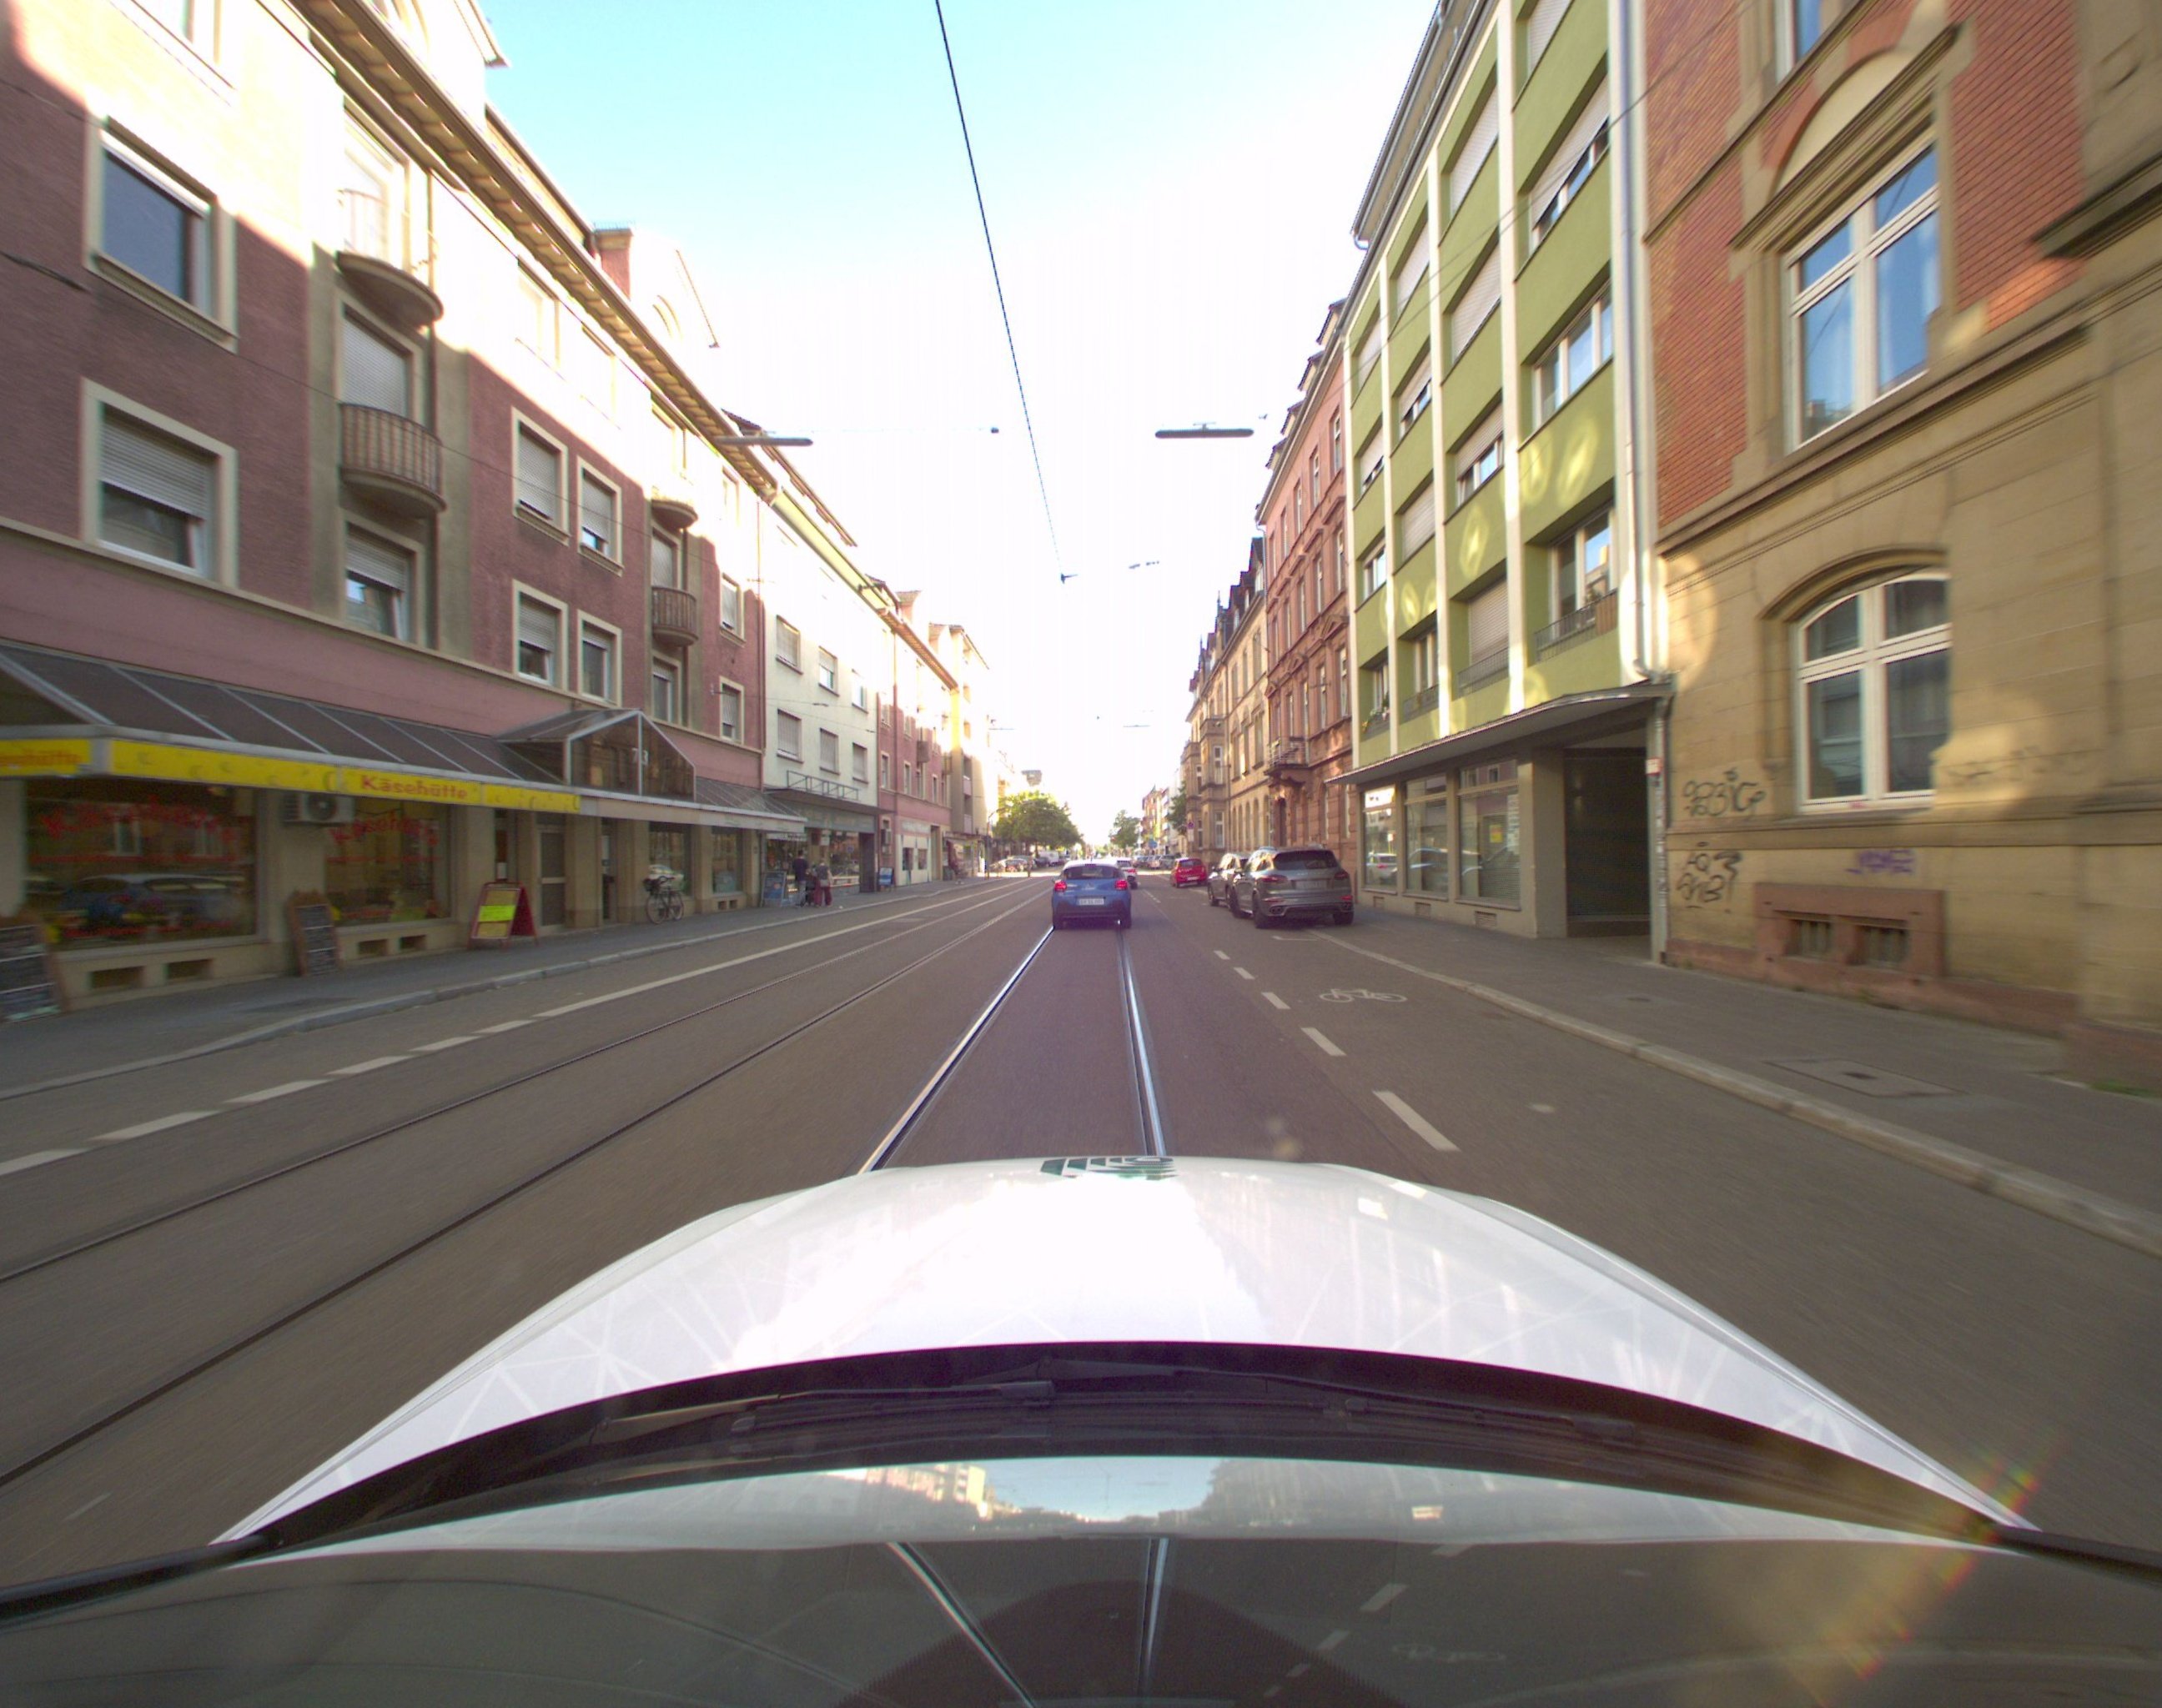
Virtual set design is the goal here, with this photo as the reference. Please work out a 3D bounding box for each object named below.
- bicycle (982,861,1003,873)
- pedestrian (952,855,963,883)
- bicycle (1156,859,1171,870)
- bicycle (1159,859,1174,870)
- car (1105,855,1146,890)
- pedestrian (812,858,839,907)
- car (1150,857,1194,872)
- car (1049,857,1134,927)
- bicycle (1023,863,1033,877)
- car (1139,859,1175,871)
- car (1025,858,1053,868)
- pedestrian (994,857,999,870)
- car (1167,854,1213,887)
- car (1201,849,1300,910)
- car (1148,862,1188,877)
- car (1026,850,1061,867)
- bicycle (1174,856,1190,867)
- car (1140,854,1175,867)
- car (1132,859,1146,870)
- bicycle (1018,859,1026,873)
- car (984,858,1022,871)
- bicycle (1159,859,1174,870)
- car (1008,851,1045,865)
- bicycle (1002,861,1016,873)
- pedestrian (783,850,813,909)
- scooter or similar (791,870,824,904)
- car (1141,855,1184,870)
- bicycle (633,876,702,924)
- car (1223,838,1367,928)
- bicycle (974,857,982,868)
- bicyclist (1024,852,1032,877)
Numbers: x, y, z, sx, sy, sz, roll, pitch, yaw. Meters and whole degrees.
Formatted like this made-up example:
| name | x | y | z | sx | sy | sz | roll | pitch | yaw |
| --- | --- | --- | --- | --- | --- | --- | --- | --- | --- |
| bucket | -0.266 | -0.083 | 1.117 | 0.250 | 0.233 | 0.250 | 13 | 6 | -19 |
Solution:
| name | x | y | z | sx | sy | sz | roll | pitch | yaw |
| --- | --- | --- | --- | --- | --- | --- | --- | --- | --- |
| bicycle | -9.035 | 1.347 | 82.993 | 2.405 | 1.109 | 0.688 | 1 | 2 | 42 |
| pedestrian | -7.355 | 0.886 | 48.638 | 0.561 | 1.686 | 0.616 | 0 | -1 | 0 |
| bicycle | 8.309 | 1.057 | 82.107 | 1.392 | 1.127 | 0.551 | 0 | -1 | 1 |
| bicycle | 8.810 | 1.096 | 84.072 | 1.547 | 1.079 | 0.308 | 0 | -1 | 8 |
| car | 2.126 | 0.871 | 39.269 | 1.866 | 1.596 | 4.002 | 0 | -1 | 2 |
| pedestrian | -8.174 | 0.914 | 26.074 | 0.633 | 1.548 | 0.624 | 0 | -1 | 1 |
| car | 9.762 | 1.129 | 87.681 | 4.370 | 1.596 | 1.839 | 0 | -1 | -23 |
| car | 0.260 | 0.799 | 18.610 | 1.756 | 1.441 | 3.558 | 0 | -1 | 1 |
| bicycle | -4.405 | 1.332 | 67.507 | 0.599 | 1.096 | 2.045 | -3 | -1 | 2 |
| car | 9.860 | 1.452 | 105.906 | 4.321 | 1.596 | 1.967 | 0 | -1 | -23 |
| car | -6.503 | 1.326 | 125.402 | 3.993 | 1.489 | 1.797 | 0 | -1 | -15 |
| pedestrian | -11.117 | 1.247 | 107.362 | 0.567 | 1.652 | 0.641 | 0 | -1 | 2 |
| car | 5.612 | 0.840 | 42.442 | 1.859 | 1.483 | 4.402 | -4 | -1 | 1 |
| car | 4.877 | 0.704 | 24.080 | 1.861 | 1.646 | 4.397 | 0 | -1 | -2 |
| car | 9.611 | 1.698 | 90.344 | 4.004 | 1.536 | 1.904 | 0 | -1 | -23 |
| car | -6.065 | 0.716 | 131.365 | 5.402 | 2.749 | 1.790 | 0 | -1 | -28 |
| bicycle | 10.175 | 0.782 | 81.893 | 1.547 | 1.127 | 0.553 | 0 | -1 | 8 |
| car | 9.728 | 0.803 | 103.320 | 4.004 | 1.596 | 2.071 | 0 | -1 | -23 |
| car | 8.387 | 1.526 | 118.478 | 1.866 | 1.596 | 4.721 | 0 | -1 | 2 |
| bicycle | -6.009 | 1.192 | 82.998 | 0.680 | 1.319 | 2.434 | 0 | 2 | -2 |
| car | -8.489 | 1.163 | 89.040 | 3.804 | 1.400 | 1.737 | 0 | -1 | -31 |
| bicycle | 8.860 | 1.076 | 84.421 | 1.551 | 1.127 | 0.295 | 0 | -1 | 8 |
| car | -7.036 | 0.555 | 105.478 | 4.381 | 1.783 | 1.976 | 0 | -1 | -31 |
| bicycle | -7.372 | 1.329 | 83.510 | 0.685 | 1.123 | 1.870 | -1 | 2 | -29 |
| pedestrian | -8.830 | 0.789 | 25.389 | 0.623 | 1.789 | 0.821 | 0 | -1 | 1 |
| scooter or similar | -8.846 | 1.061 | 26.398 | 0.659 | 1.061 | 1.105 | 0 | 0 | 2 |
| car | 9.325 | 0.966 | 93.451 | 4.453 | 1.596 | 2.073 | 0 | -1 | -23 |
| bicycle | -9.937 | 1.081 | 19.683 | 0.423 | 1.060 | 2.330 | 0 | -1 | 2 |
| car | 4.581 | 0.597 | 18.225 | 1.986 | 1.615 | 4.787 | -4 | -1 | 1 |
| bicycle | -10.565 | 0.838 | 83.452 | 0.404 | 1.109 | 1.825 | -1 | -1 | -19 |
| bicyclist | -4.405 | 0.870 | 67.631 | 0.609 | 2.014 | 0.734 | 0 | -1 | 2 |
